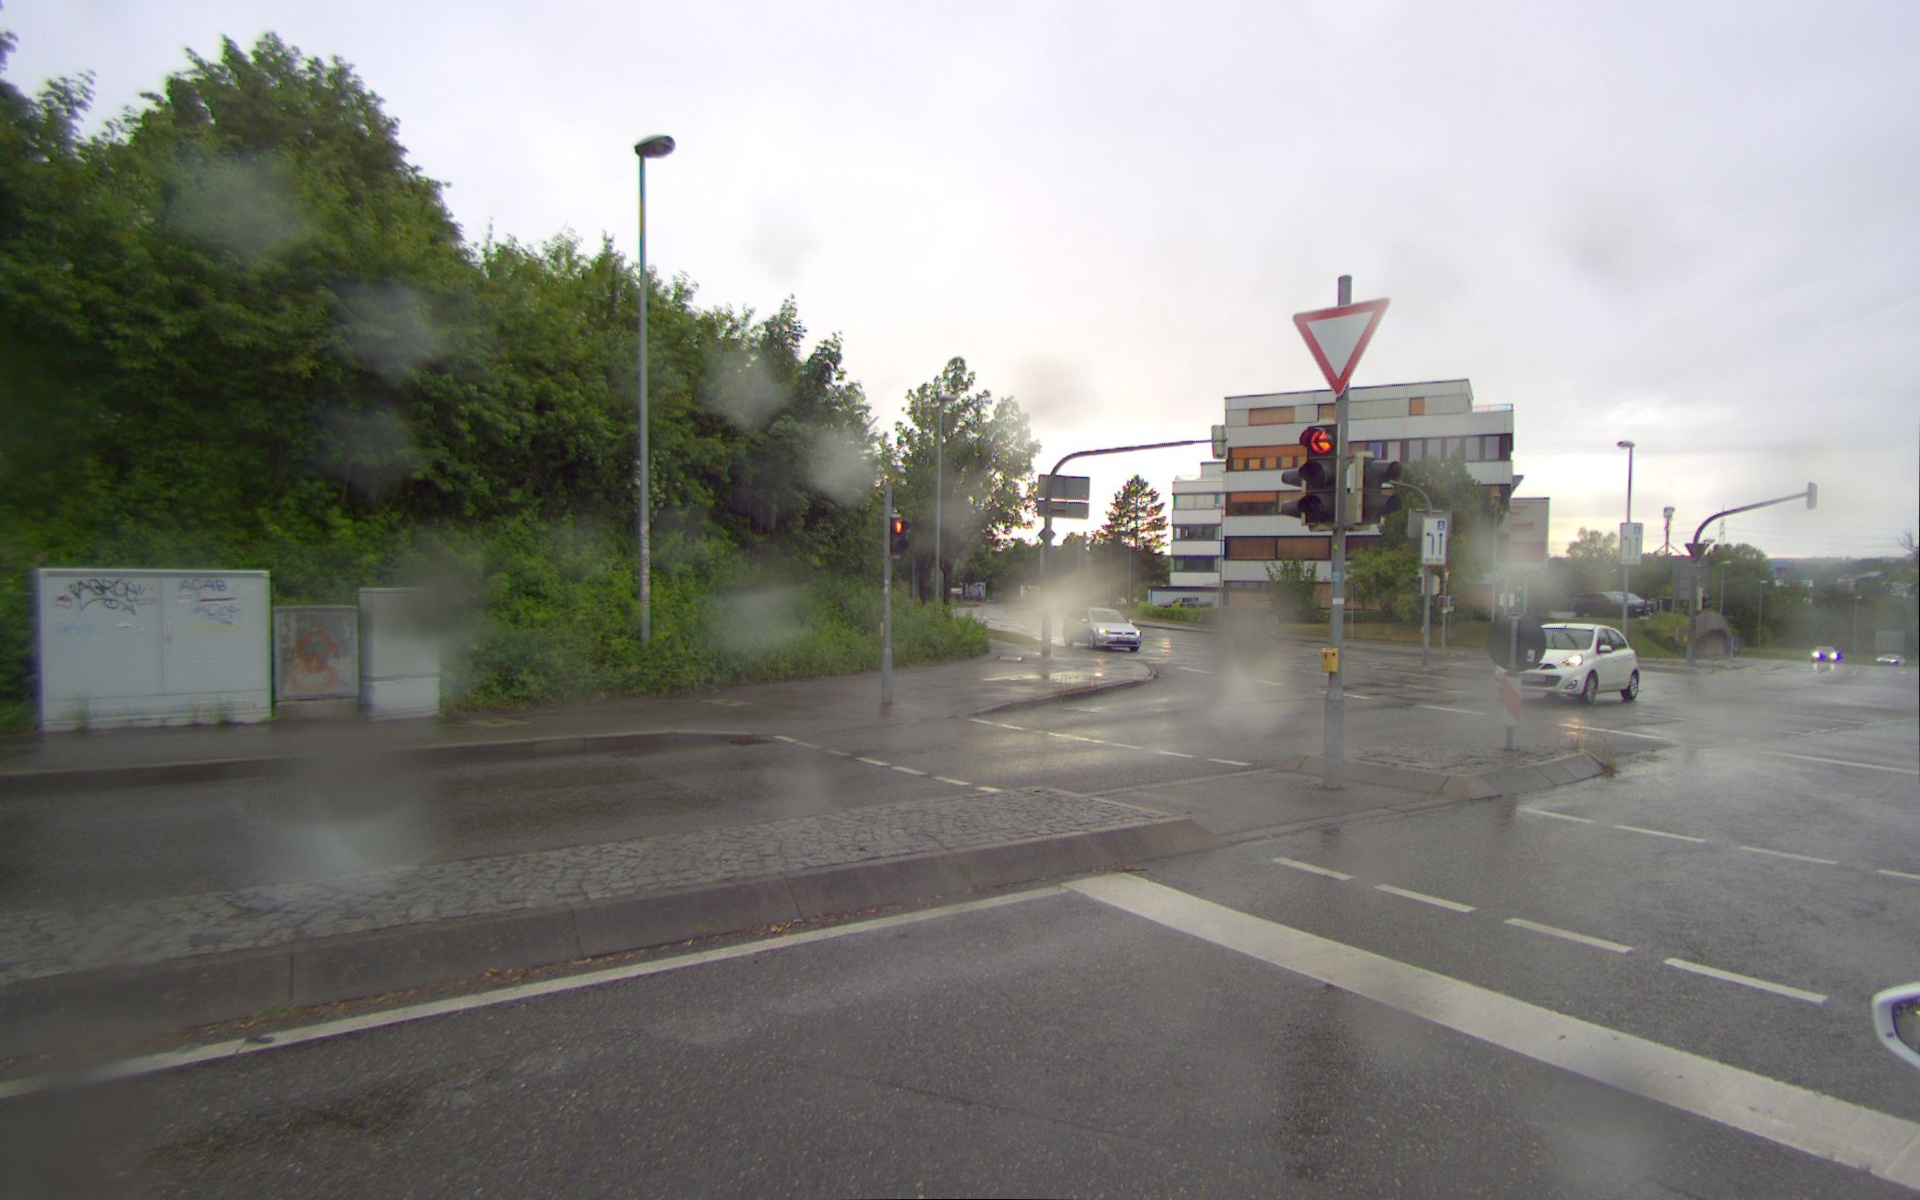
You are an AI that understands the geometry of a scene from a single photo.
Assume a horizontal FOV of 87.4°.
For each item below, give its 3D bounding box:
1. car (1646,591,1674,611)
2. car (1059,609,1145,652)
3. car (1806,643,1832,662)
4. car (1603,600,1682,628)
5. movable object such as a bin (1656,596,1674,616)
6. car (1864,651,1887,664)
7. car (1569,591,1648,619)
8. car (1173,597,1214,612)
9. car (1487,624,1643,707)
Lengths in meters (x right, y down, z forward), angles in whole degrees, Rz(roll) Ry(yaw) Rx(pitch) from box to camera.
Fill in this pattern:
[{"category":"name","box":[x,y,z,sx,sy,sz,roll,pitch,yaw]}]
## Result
[{"category":"car","box":[60.891,0.072,87.418,1.802,1.461,3.990,3,-1,33]},{"category":"car","box":[5.070,1.066,36.525,1.731,1.381,4.523,2,0,-11]},{"category":"car","box":[77.745,4.726,90.941,1.641,1.514,3.984,2,-1,38]},{"category":"car","box":[45.236,0.909,66.679,1.872,1.607,3.985,4,0,-17]},{"category":"movable object such as a bin","box":[55.724,0.493,79.388,1.069,1.456,1.443,3,0,34]},{"category":"car","box":[110.556,6.932,121.325,3.971,1.514,1.704,3,-1,-43]},{"category":"car","box":[42.435,0.297,65.809,1.874,1.607,3.981,4,0,-21]},{"category":"car","box":[22.354,0.424,96.194,3.686,1.418,2.000,1,1,19]},{"category":"car","box":[12.352,1.255,20.416,3.791,1.525,1.607,1,-1,-40]}]
